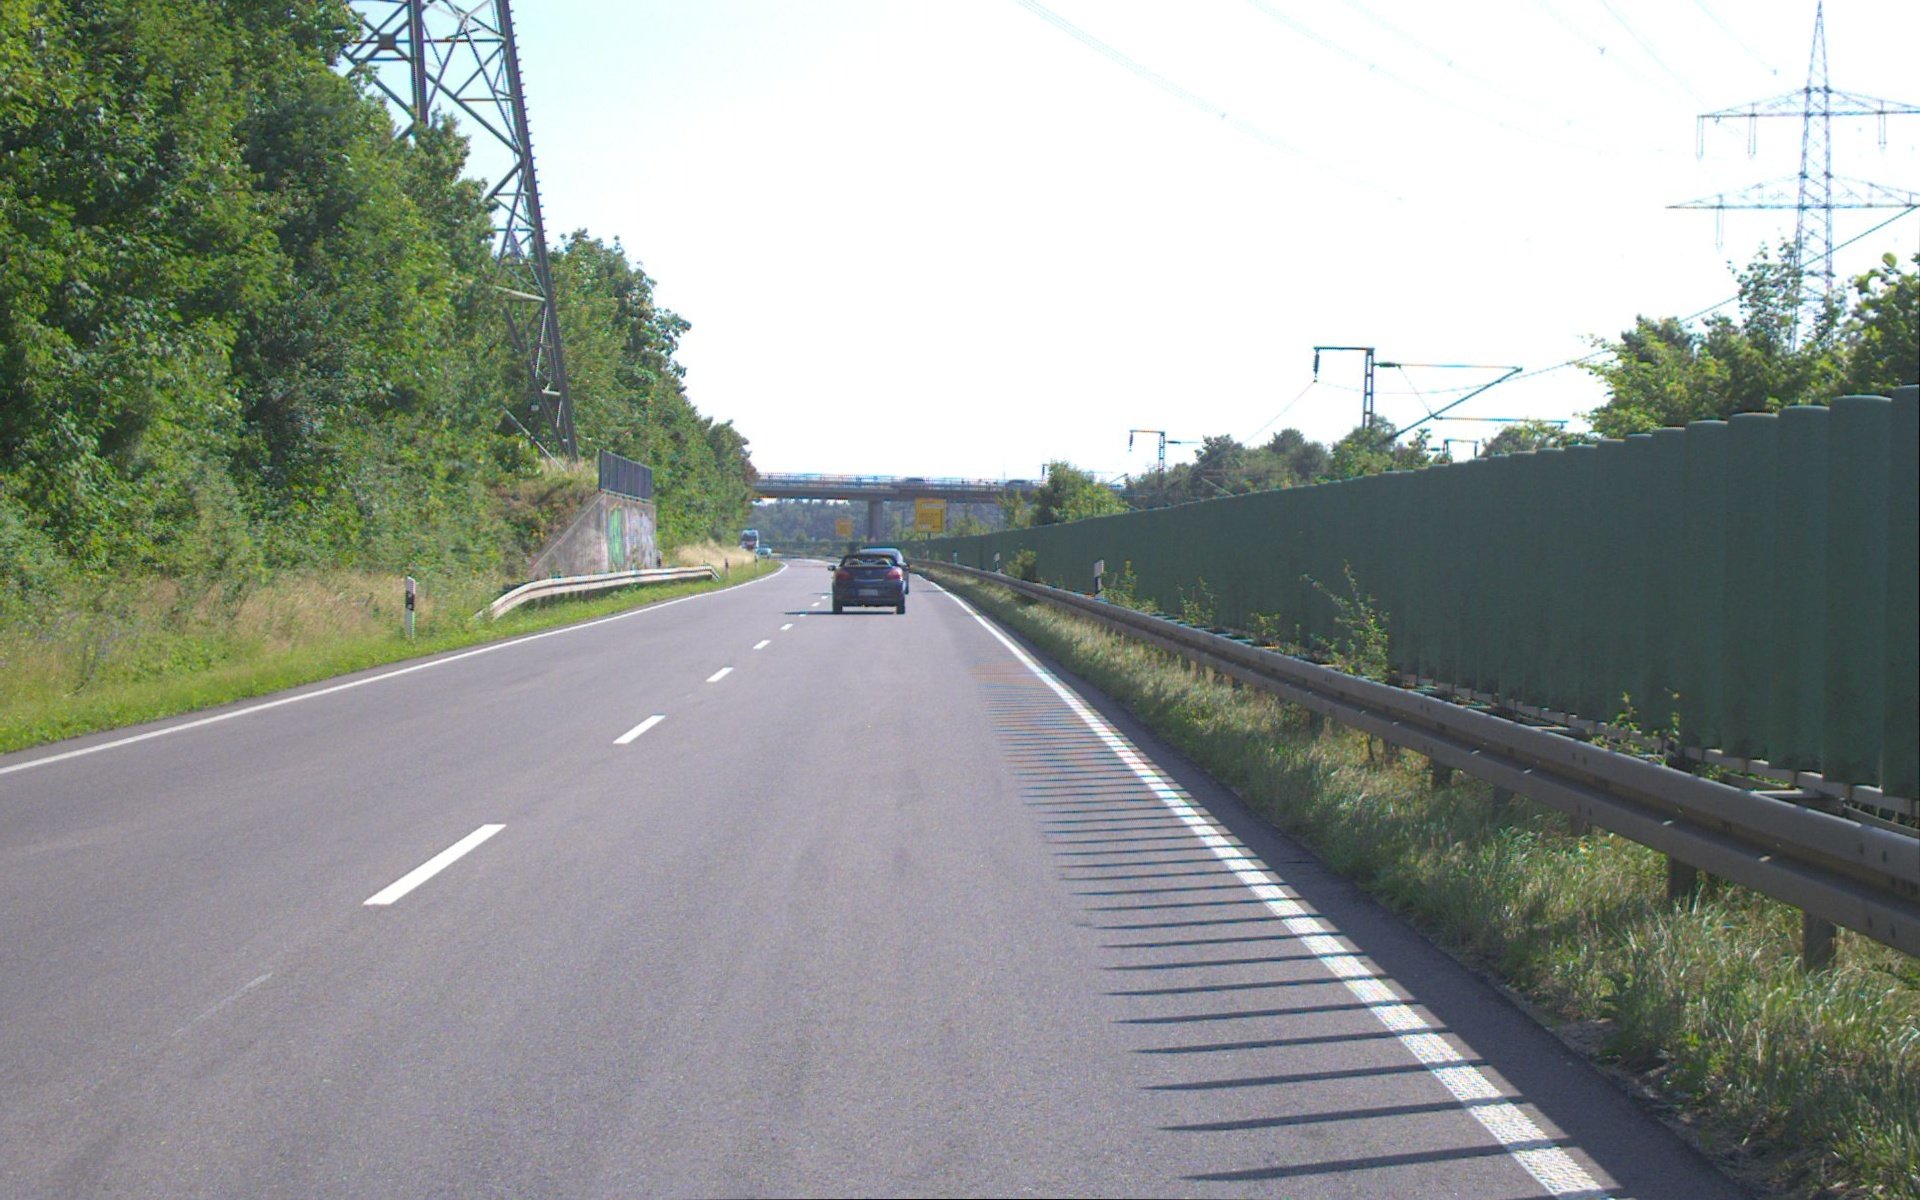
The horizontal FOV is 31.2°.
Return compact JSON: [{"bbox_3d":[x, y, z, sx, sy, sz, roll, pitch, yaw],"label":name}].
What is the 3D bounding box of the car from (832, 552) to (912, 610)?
[{"bbox_3d":[-2.023,-0.435,77.945,1.663,1.257,4.001,1,0,-4],"label":"car"}]
